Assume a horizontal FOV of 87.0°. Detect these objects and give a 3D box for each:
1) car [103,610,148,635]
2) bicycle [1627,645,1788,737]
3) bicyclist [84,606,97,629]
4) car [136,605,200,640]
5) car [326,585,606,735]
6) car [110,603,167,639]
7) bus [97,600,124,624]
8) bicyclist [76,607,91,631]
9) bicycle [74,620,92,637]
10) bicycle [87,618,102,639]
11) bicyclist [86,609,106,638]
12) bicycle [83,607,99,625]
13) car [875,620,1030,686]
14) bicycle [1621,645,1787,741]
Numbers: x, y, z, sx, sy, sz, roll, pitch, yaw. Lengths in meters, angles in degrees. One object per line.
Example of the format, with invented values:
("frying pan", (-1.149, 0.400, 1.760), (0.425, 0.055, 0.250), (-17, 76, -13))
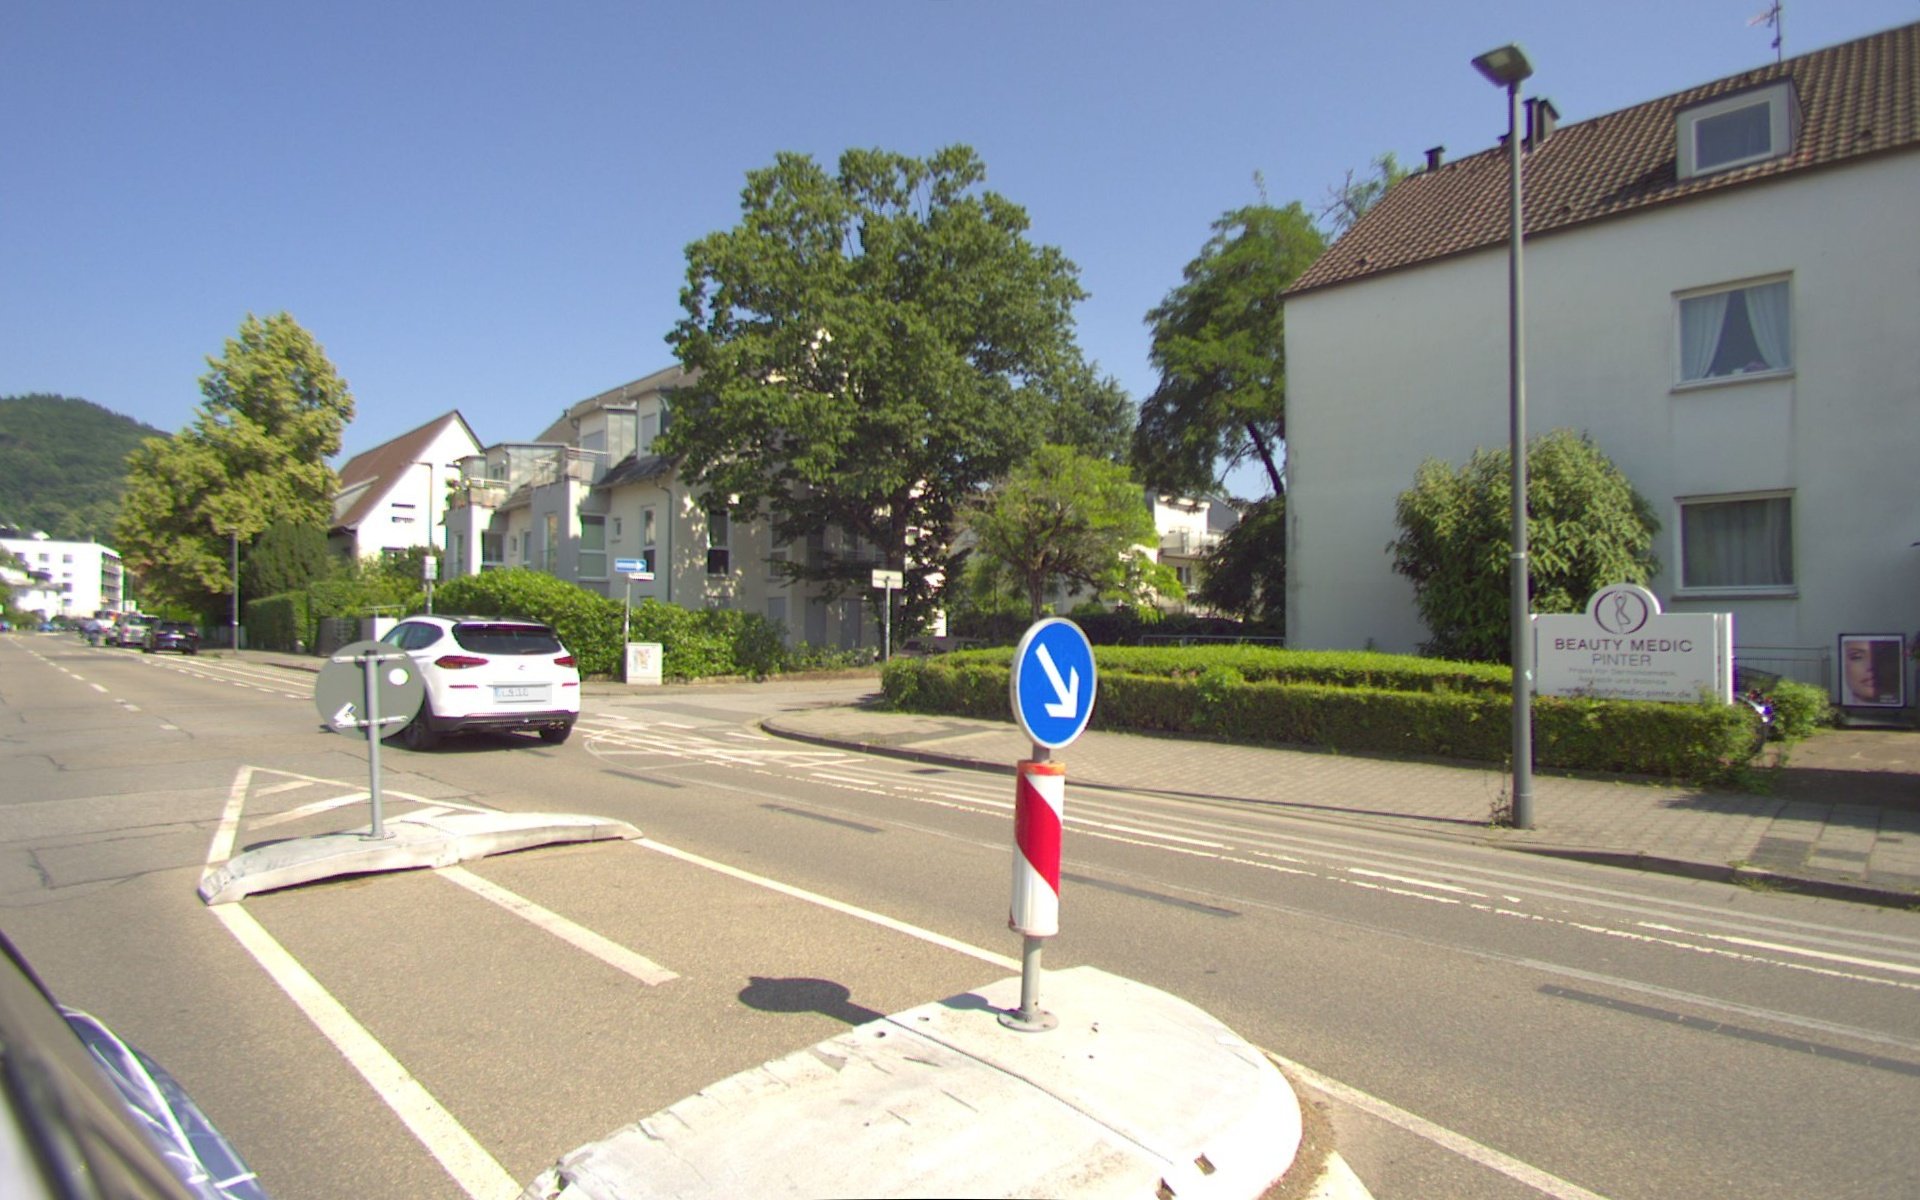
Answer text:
("car", (-54.779, 1.459, 66.407), (1.812, 1.497, 4.565), (5, -4, -44))
("bicycle", (7.974, 0.948, 10.830), (1.368, 0.880, 0.330), (0, 3, 40))
("bicyclist", (-54.294, 1.090, 63.198), (0.484, 1.465, 0.965), (5, -4, -44))
("car", (-38.637, 1.106, 49.346), (4.450, 1.623, 1.830), (-1, -2, 44))
("car", (-6.729, 0.716, 13.548), (4.507, 1.679, 1.893), (0, -3, 44))
("car", (-47.867, 1.221, 58.934), (4.868, 1.934, 1.864), (0, -4, 43))
("bus", (-119.678, 1.740, 142.595), (2.711, 3.198, 9.793), (4, -3, -40))
("bicyclist", (-61.645, 1.331, 71.165), (0.740, 1.680, 1.022), (2, -2, -44))
("bicycle", (-61.745, 1.990, 71.269), (0.773, 1.175, 2.422), (5, -3, -44))
("bicycle", (-51.194, 1.661, 59.875), (0.552, 1.194, 2.037), (1, -1, -44))
("bicyclist", (-51.139, 1.387, 59.898), (0.668, 1.592, 0.860), (10, -7, -44))
("bicycle", (-54.283, 0.982, 63.212), (0.593, 1.113, 1.347), (5, -4, -44))
("car", (-0.125, 1.207, 23.942), (1.727, 1.423, 3.452), (-1, -1, 45))
("bicycle", (7.665, 0.935, 10.461), (1.368, 0.880, 0.330), (0, 3, 40))
